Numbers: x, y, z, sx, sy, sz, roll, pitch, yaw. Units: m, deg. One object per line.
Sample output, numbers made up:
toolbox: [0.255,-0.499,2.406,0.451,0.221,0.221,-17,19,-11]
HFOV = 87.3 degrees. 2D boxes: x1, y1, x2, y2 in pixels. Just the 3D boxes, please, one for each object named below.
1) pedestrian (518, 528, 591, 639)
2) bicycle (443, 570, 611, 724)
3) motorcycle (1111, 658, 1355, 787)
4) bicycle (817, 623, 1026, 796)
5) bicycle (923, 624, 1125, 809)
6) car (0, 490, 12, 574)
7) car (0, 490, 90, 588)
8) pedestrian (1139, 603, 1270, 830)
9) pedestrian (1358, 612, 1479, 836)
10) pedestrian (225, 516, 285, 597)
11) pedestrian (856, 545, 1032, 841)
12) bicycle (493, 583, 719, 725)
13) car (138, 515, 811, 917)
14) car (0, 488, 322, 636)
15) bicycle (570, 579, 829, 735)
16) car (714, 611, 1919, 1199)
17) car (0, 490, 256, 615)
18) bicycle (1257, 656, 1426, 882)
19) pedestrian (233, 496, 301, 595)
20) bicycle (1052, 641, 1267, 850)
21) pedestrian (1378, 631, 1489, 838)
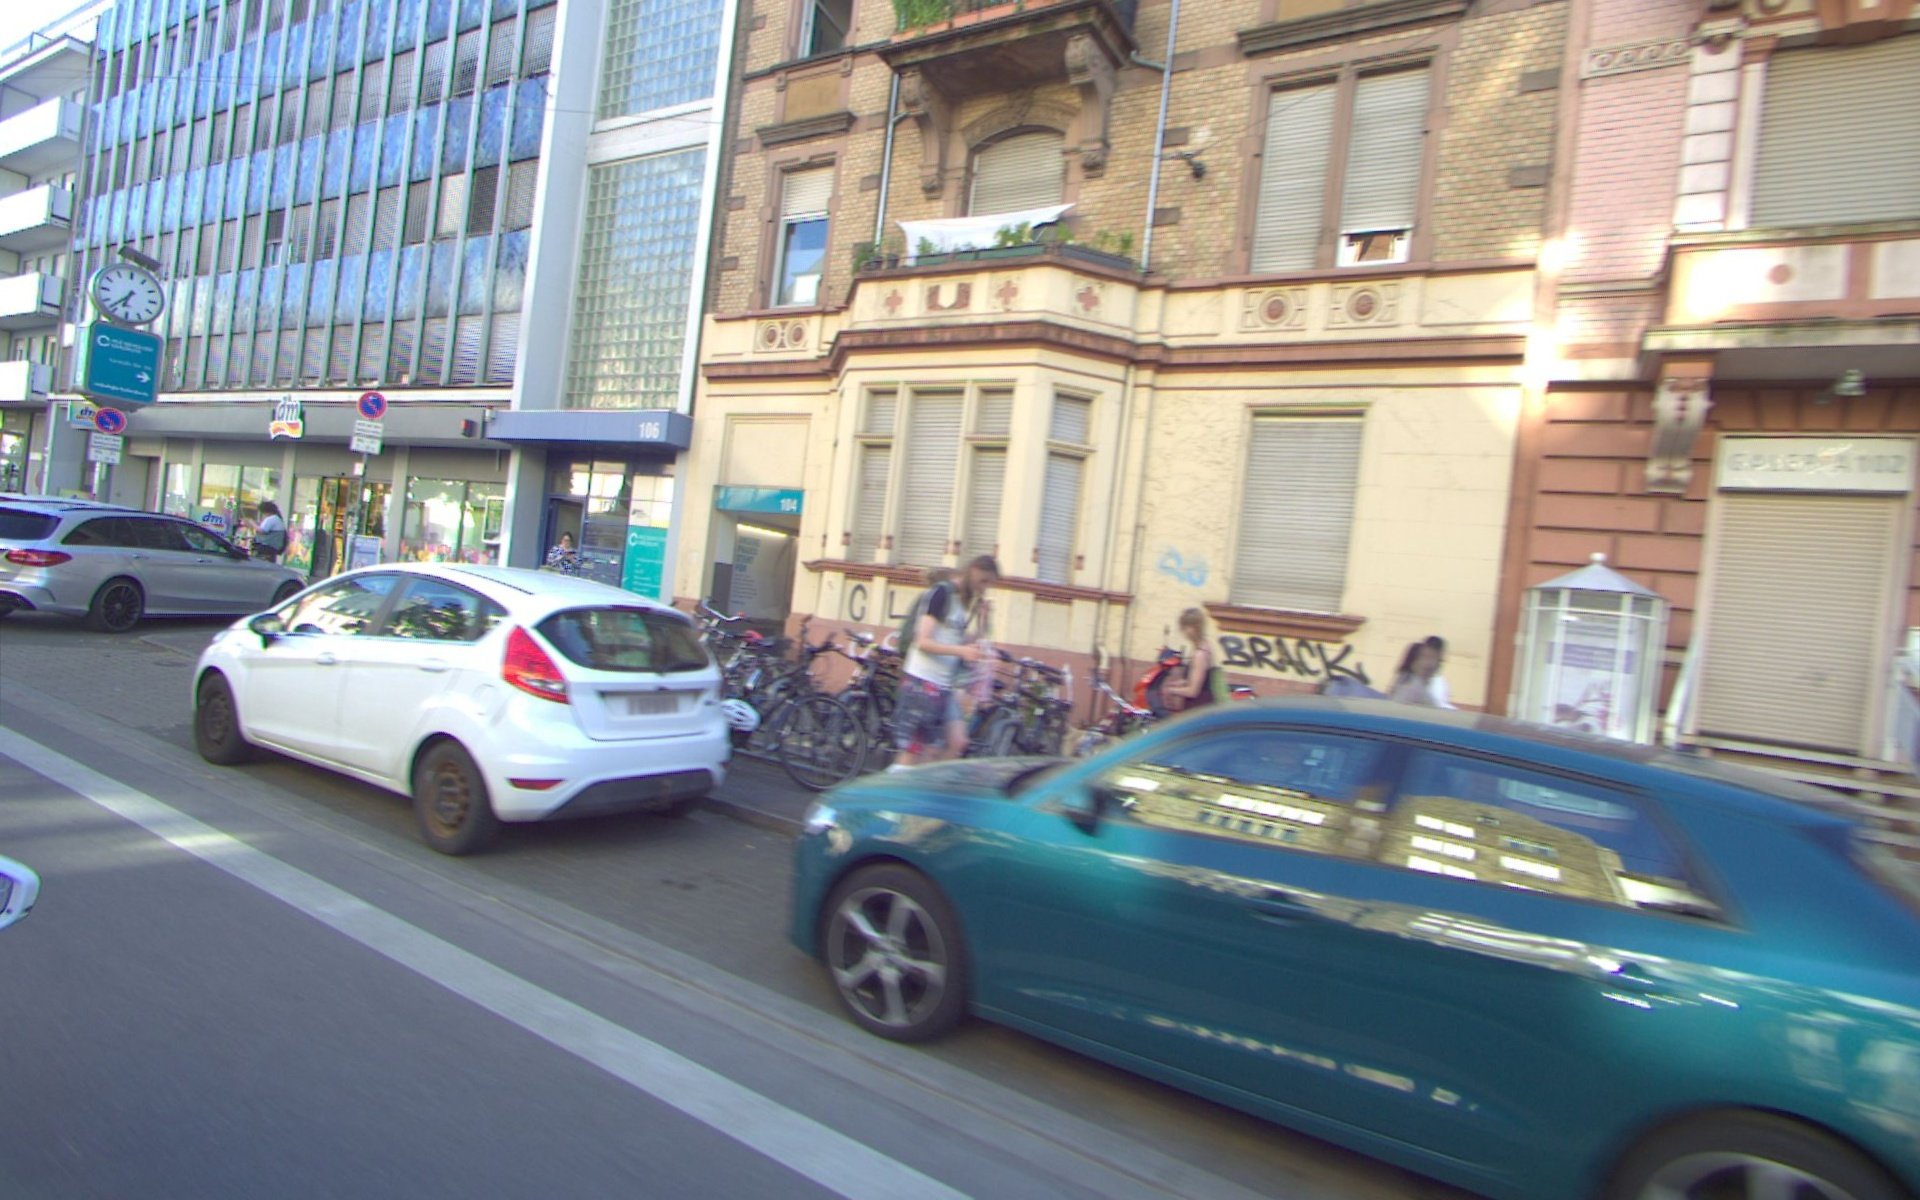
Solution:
pedestrian: [-7.160,-0.288,17.773,0.715,1.827,0.720,7,-1,32]
bicycle: [-3.889,0.419,9.033,1.218,1.199,0.694,6,-1,31]
motorcycle: [2.952,1.292,11.073,2.477,1.005,0.506,6,3,32]
bicycle: [-0.255,0.919,8.563,0.653,1.235,2.023,7,-2,31]
bicycle: [0.585,0.914,8.084,0.653,1.235,2.023,7,-2,31]
car: [-19.004,-1.442,17.394,1.790,1.573,3.454,7,-2,0]
car: [-16.631,-1.159,16.170,1.932,1.538,3.732,7,-2,-1]
pedestrian: [1.927,0.892,7.891,0.643,1.626,0.713,7,-1,31]
pedestrian: [3.647,0.945,7.991,0.643,1.628,0.712,7,2,31]
pedestrian: [-15.046,-0.932,21.480,0.667,1.606,0.694,7,-1,31]
pedestrian: [-0.088,0.566,6.321,0.643,1.691,0.713,7,-1,31]
bicycle: [-3.643,0.584,10.463,2.008,1.236,0.657,8,-1,-36]
car: [-3.138,0.517,6.332,3.934,1.614,1.876,6,-2,32]
car: [-10.612,-0.395,13.075,1.507,1.525,4.457,7,-2,2]
bicycle: [-2.322,0.578,9.351,0.653,1.235,2.361,7,-2,35]
car: [1.278,1.117,3.660,3.934,1.614,1.876,6,-2,32]
car: [-12.999,-0.671,15.213,1.804,1.504,3.789,7,-2,2]
bicycle: [2.666,1.066,6.871,0.652,1.236,2.060,7,-1,30]
pedestrian: [-13.408,-1.052,19.471,0.667,1.777,0.694,7,-1,31]
bicycle: [1.594,1.031,7.538,0.653,1.235,2.543,7,-2,31]
pedestrian: [4.090,1.133,8.669,0.643,1.626,0.713,7,-1,31]
